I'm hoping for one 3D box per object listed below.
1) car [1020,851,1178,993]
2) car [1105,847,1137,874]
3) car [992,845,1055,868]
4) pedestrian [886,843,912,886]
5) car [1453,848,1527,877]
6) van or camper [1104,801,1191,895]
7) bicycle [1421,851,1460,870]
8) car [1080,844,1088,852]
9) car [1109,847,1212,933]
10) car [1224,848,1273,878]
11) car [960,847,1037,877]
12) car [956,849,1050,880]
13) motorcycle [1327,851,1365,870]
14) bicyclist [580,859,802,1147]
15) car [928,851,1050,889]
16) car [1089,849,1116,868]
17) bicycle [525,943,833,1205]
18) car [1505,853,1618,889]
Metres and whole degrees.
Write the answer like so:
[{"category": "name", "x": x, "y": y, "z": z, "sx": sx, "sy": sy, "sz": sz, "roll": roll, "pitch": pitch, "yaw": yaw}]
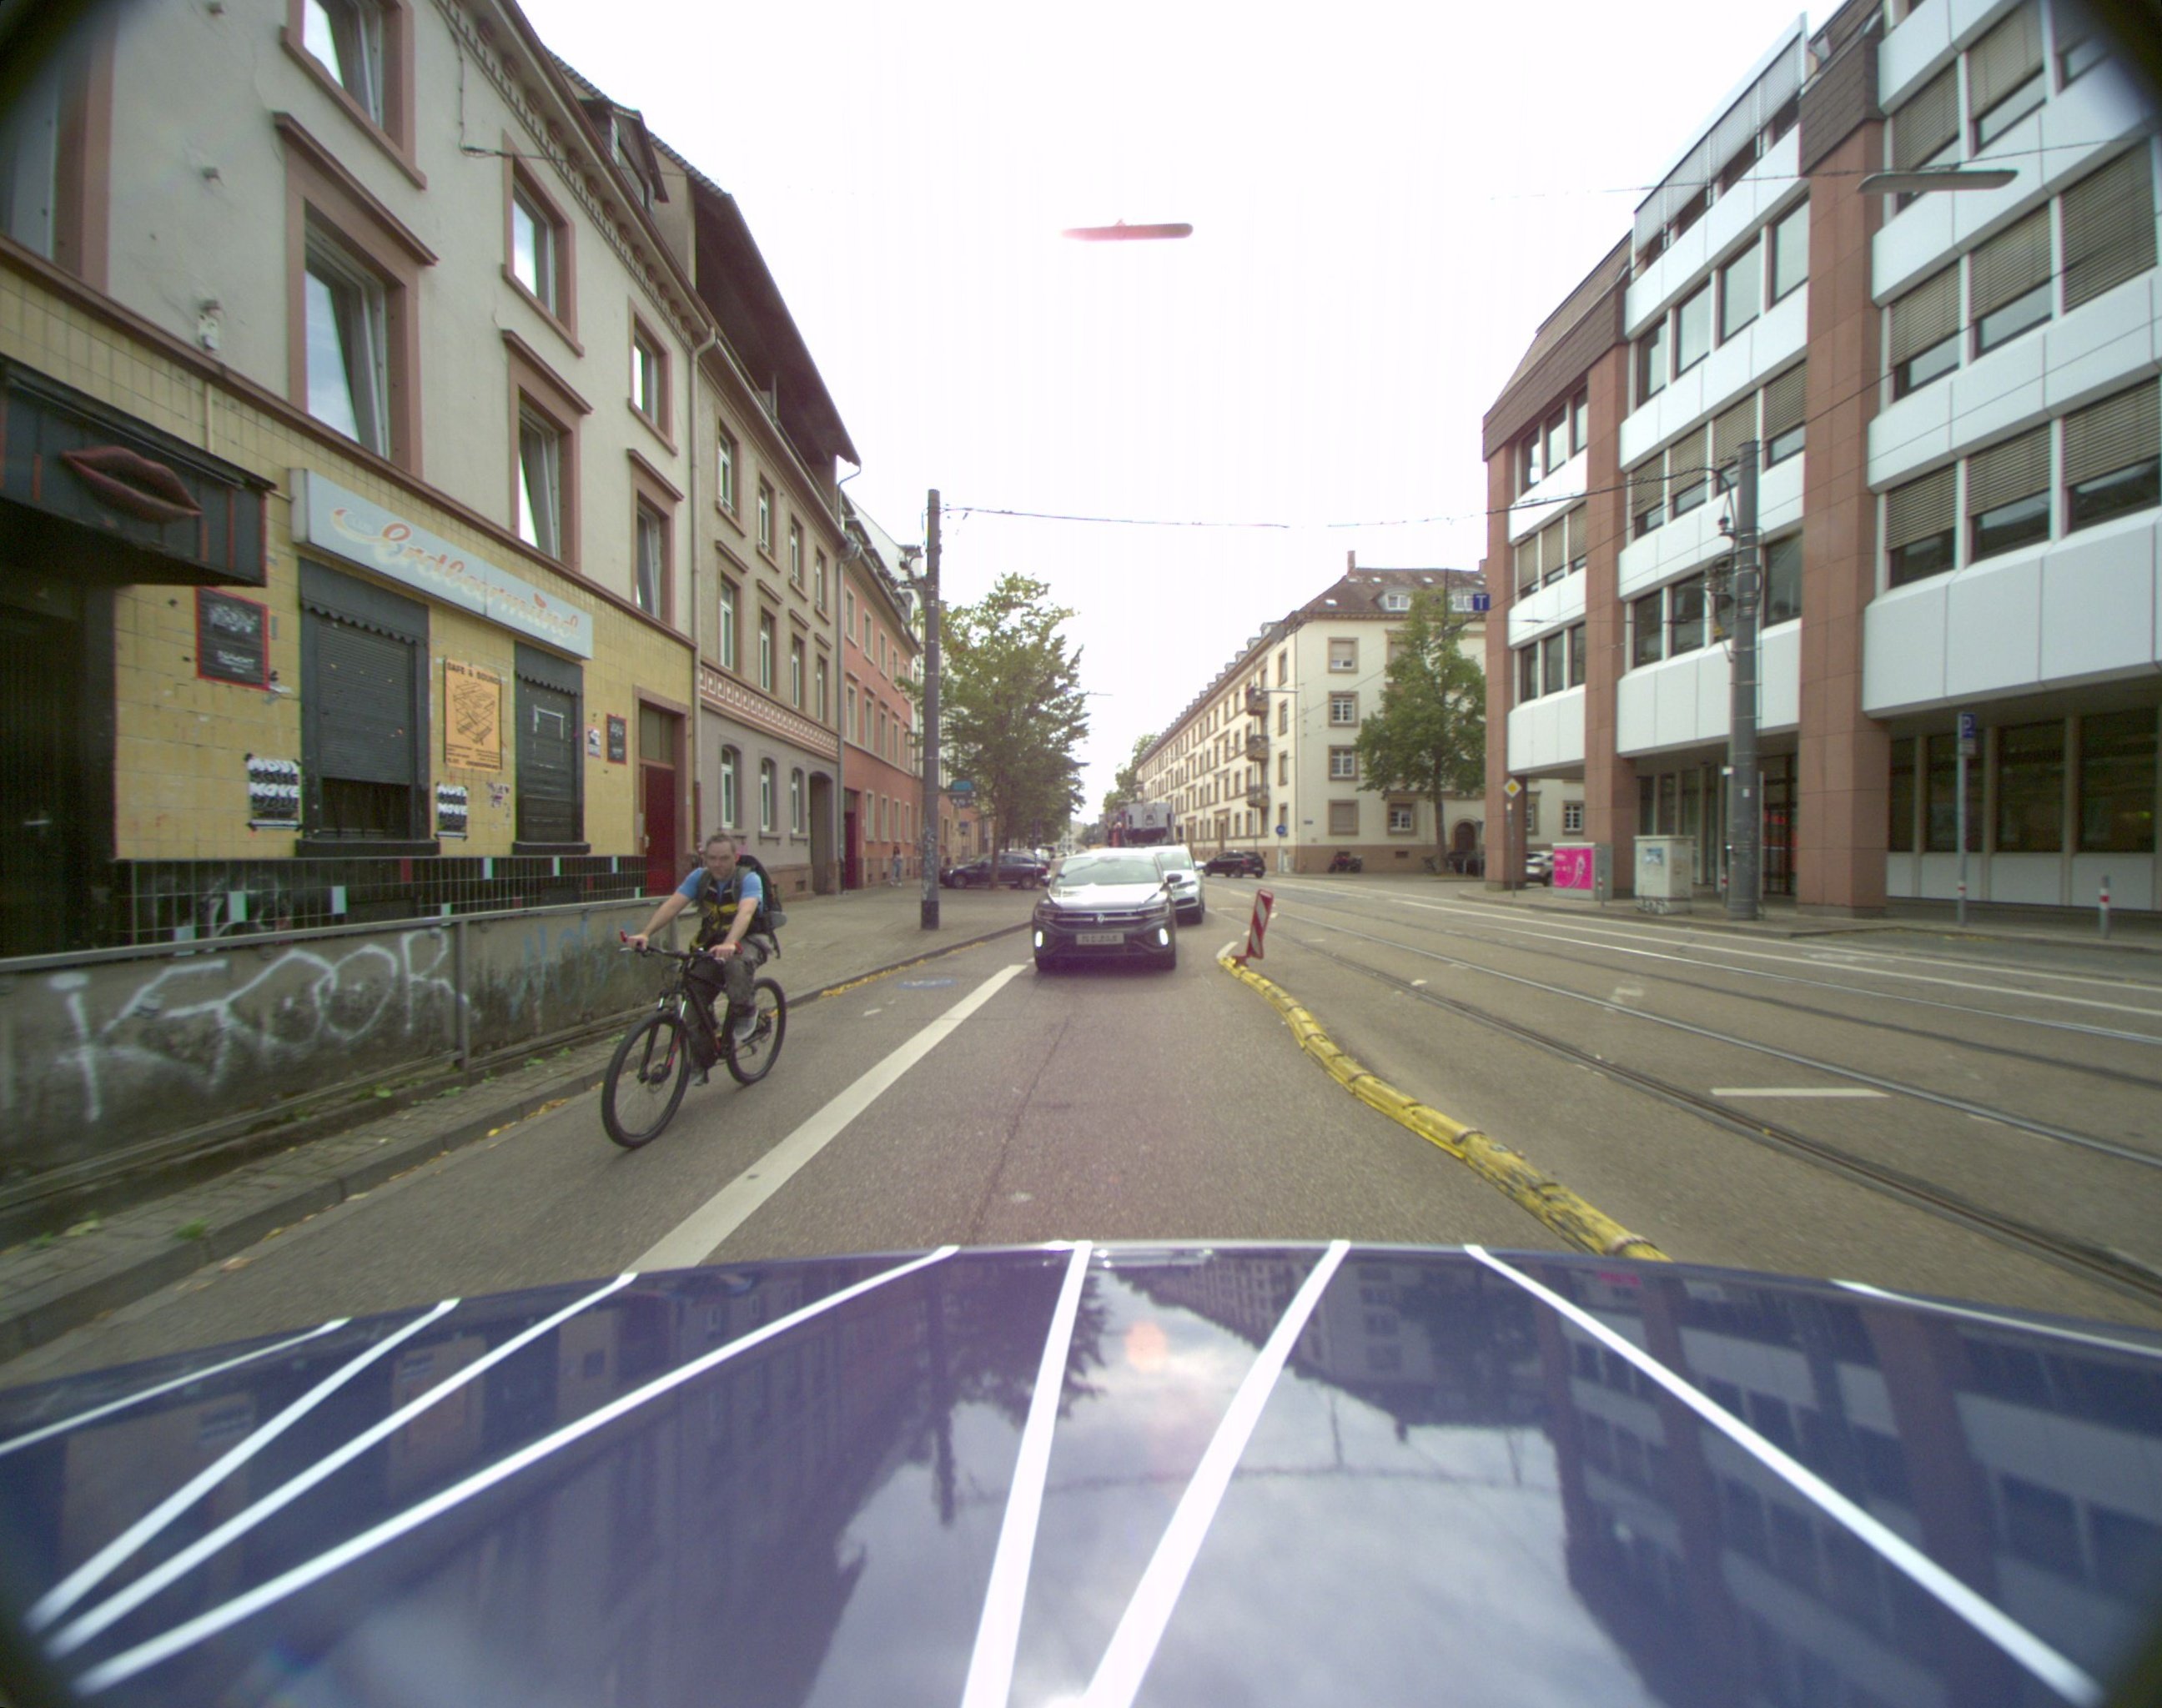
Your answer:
[{"category": "car", "x": 0.453, "y": 0.781, "z": 10.804, "sx": 1.772, "sy": 1.539, "sz": 4.284, "roll": -2, "pitch": 1, "yaw": 7}, {"category": "car", "x": 2.596, "y": 0.405, "z": 50.235, "sx": 1.998, "sy": 1.698, "sz": 4.052, "roll": 0, "pitch": 1, "yaw": 1}, {"category": "car", "x": -4.581, "y": 0.201, "z": 60.965, "sx": 4.635, "sy": 1.688, "sz": 1.912, "roll": 1, "pitch": 0, "yaw": -24}, {"category": "pedestrian", "x": -7.349, "y": 0.399, "z": 30.715, "sx": 0.732, "sy": 1.678, "sz": 0.926, "roll": 3, "pitch": 1, "yaw": -1}, {"category": "car", "x": 21.171, "y": 0.415, "z": 39.456, "sx": 1.611, "sy": 1.388, "sz": 3.873, "roll": 0, "pitch": 1, "yaw": -3}, {"category": "van or camper", "x": 2.578, "y": -0.277, "z": 32.504, "sx": 2.607, "sy": 3.401, "sz": 9.650, "roll": 0, "pitch": 1, "yaw": -1}, {"category": "bicycle", "x": 20.867, "y": 0.373, "z": 44.111, "sx": 1.924, "sy": 1.080, "sz": 0.793, "roll": 0, "pitch": 1, "yaw": -1}, {"category": "car", "x": 0.798, "y": -1.463, "z": 178.722, "sx": 1.899, "sy": 1.806, "sz": 3.999, "roll": 0, "pitch": 1, "yaw": 0}, {"category": "car", "x": 1.873, "y": 0.688, "z": 16.716, "sx": 1.772, "sy": 1.582, "sz": 4.285, "roll": -2, "pitch": 1, "yaw": 12}, {"category": "car", "x": 9.038, "y": 0.449, "z": 41.293, "sx": 1.773, "sy": 1.528, "sz": 4.048, "roll": -2, "pitch": 1, "yaw": 0}, {"category": "car", "x": -4.951, "y": 0.468, "z": 45.483, "sx": 4.245, "sy": 1.688, "sz": 1.736, "roll": 1, "pitch": 0, "yaw": -24}, {"category": "car", "x": -3.952, "y": 0.547, "z": 38.484, "sx": 4.351, "sy": 1.471, "sz": 1.786, "roll": 1, "pitch": 0, "yaw": -24}, {"category": "motorcycle", "x": 15.295, "y": 0.377, "z": 43.881, "sx": 1.924, "sy": 1.080, "sz": 0.793, "roll": 0, "pitch": 1, "yaw": -1}, {"category": "bicyclist", "x": -2.236, "y": 0.803, "z": 4.480, "sx": 0.715, "sy": 1.498, "sz": 0.919, "roll": -2, "pitch": 1, "yaw": 6}, {"category": "car", "x": -3.764, "y": 0.641, "z": 31.278, "sx": 4.635, "sy": 1.464, "sz": 1.786, "roll": 1, "pitch": 0, "yaw": -24}, {"category": "car", "x": 1.639, "y": 0.332, "z": 59.902, "sx": 1.911, "sy": 1.478, "sz": 3.999, "roll": 0, "pitch": 1, "yaw": -2}, {"category": "bicycle", "x": -2.217, "y": 1.158, "z": 4.522, "sx": 0.714, "sy": 1.012, "sz": 1.801, "roll": -2, "pitch": 1, "yaw": 5}, {"category": "car", "x": 19.088, "y": 0.647, "z": 30.253, "sx": 3.650, "sy": 1.380, "sz": 1.610, "roll": 0, "pitch": 1, "yaw": -10}]
